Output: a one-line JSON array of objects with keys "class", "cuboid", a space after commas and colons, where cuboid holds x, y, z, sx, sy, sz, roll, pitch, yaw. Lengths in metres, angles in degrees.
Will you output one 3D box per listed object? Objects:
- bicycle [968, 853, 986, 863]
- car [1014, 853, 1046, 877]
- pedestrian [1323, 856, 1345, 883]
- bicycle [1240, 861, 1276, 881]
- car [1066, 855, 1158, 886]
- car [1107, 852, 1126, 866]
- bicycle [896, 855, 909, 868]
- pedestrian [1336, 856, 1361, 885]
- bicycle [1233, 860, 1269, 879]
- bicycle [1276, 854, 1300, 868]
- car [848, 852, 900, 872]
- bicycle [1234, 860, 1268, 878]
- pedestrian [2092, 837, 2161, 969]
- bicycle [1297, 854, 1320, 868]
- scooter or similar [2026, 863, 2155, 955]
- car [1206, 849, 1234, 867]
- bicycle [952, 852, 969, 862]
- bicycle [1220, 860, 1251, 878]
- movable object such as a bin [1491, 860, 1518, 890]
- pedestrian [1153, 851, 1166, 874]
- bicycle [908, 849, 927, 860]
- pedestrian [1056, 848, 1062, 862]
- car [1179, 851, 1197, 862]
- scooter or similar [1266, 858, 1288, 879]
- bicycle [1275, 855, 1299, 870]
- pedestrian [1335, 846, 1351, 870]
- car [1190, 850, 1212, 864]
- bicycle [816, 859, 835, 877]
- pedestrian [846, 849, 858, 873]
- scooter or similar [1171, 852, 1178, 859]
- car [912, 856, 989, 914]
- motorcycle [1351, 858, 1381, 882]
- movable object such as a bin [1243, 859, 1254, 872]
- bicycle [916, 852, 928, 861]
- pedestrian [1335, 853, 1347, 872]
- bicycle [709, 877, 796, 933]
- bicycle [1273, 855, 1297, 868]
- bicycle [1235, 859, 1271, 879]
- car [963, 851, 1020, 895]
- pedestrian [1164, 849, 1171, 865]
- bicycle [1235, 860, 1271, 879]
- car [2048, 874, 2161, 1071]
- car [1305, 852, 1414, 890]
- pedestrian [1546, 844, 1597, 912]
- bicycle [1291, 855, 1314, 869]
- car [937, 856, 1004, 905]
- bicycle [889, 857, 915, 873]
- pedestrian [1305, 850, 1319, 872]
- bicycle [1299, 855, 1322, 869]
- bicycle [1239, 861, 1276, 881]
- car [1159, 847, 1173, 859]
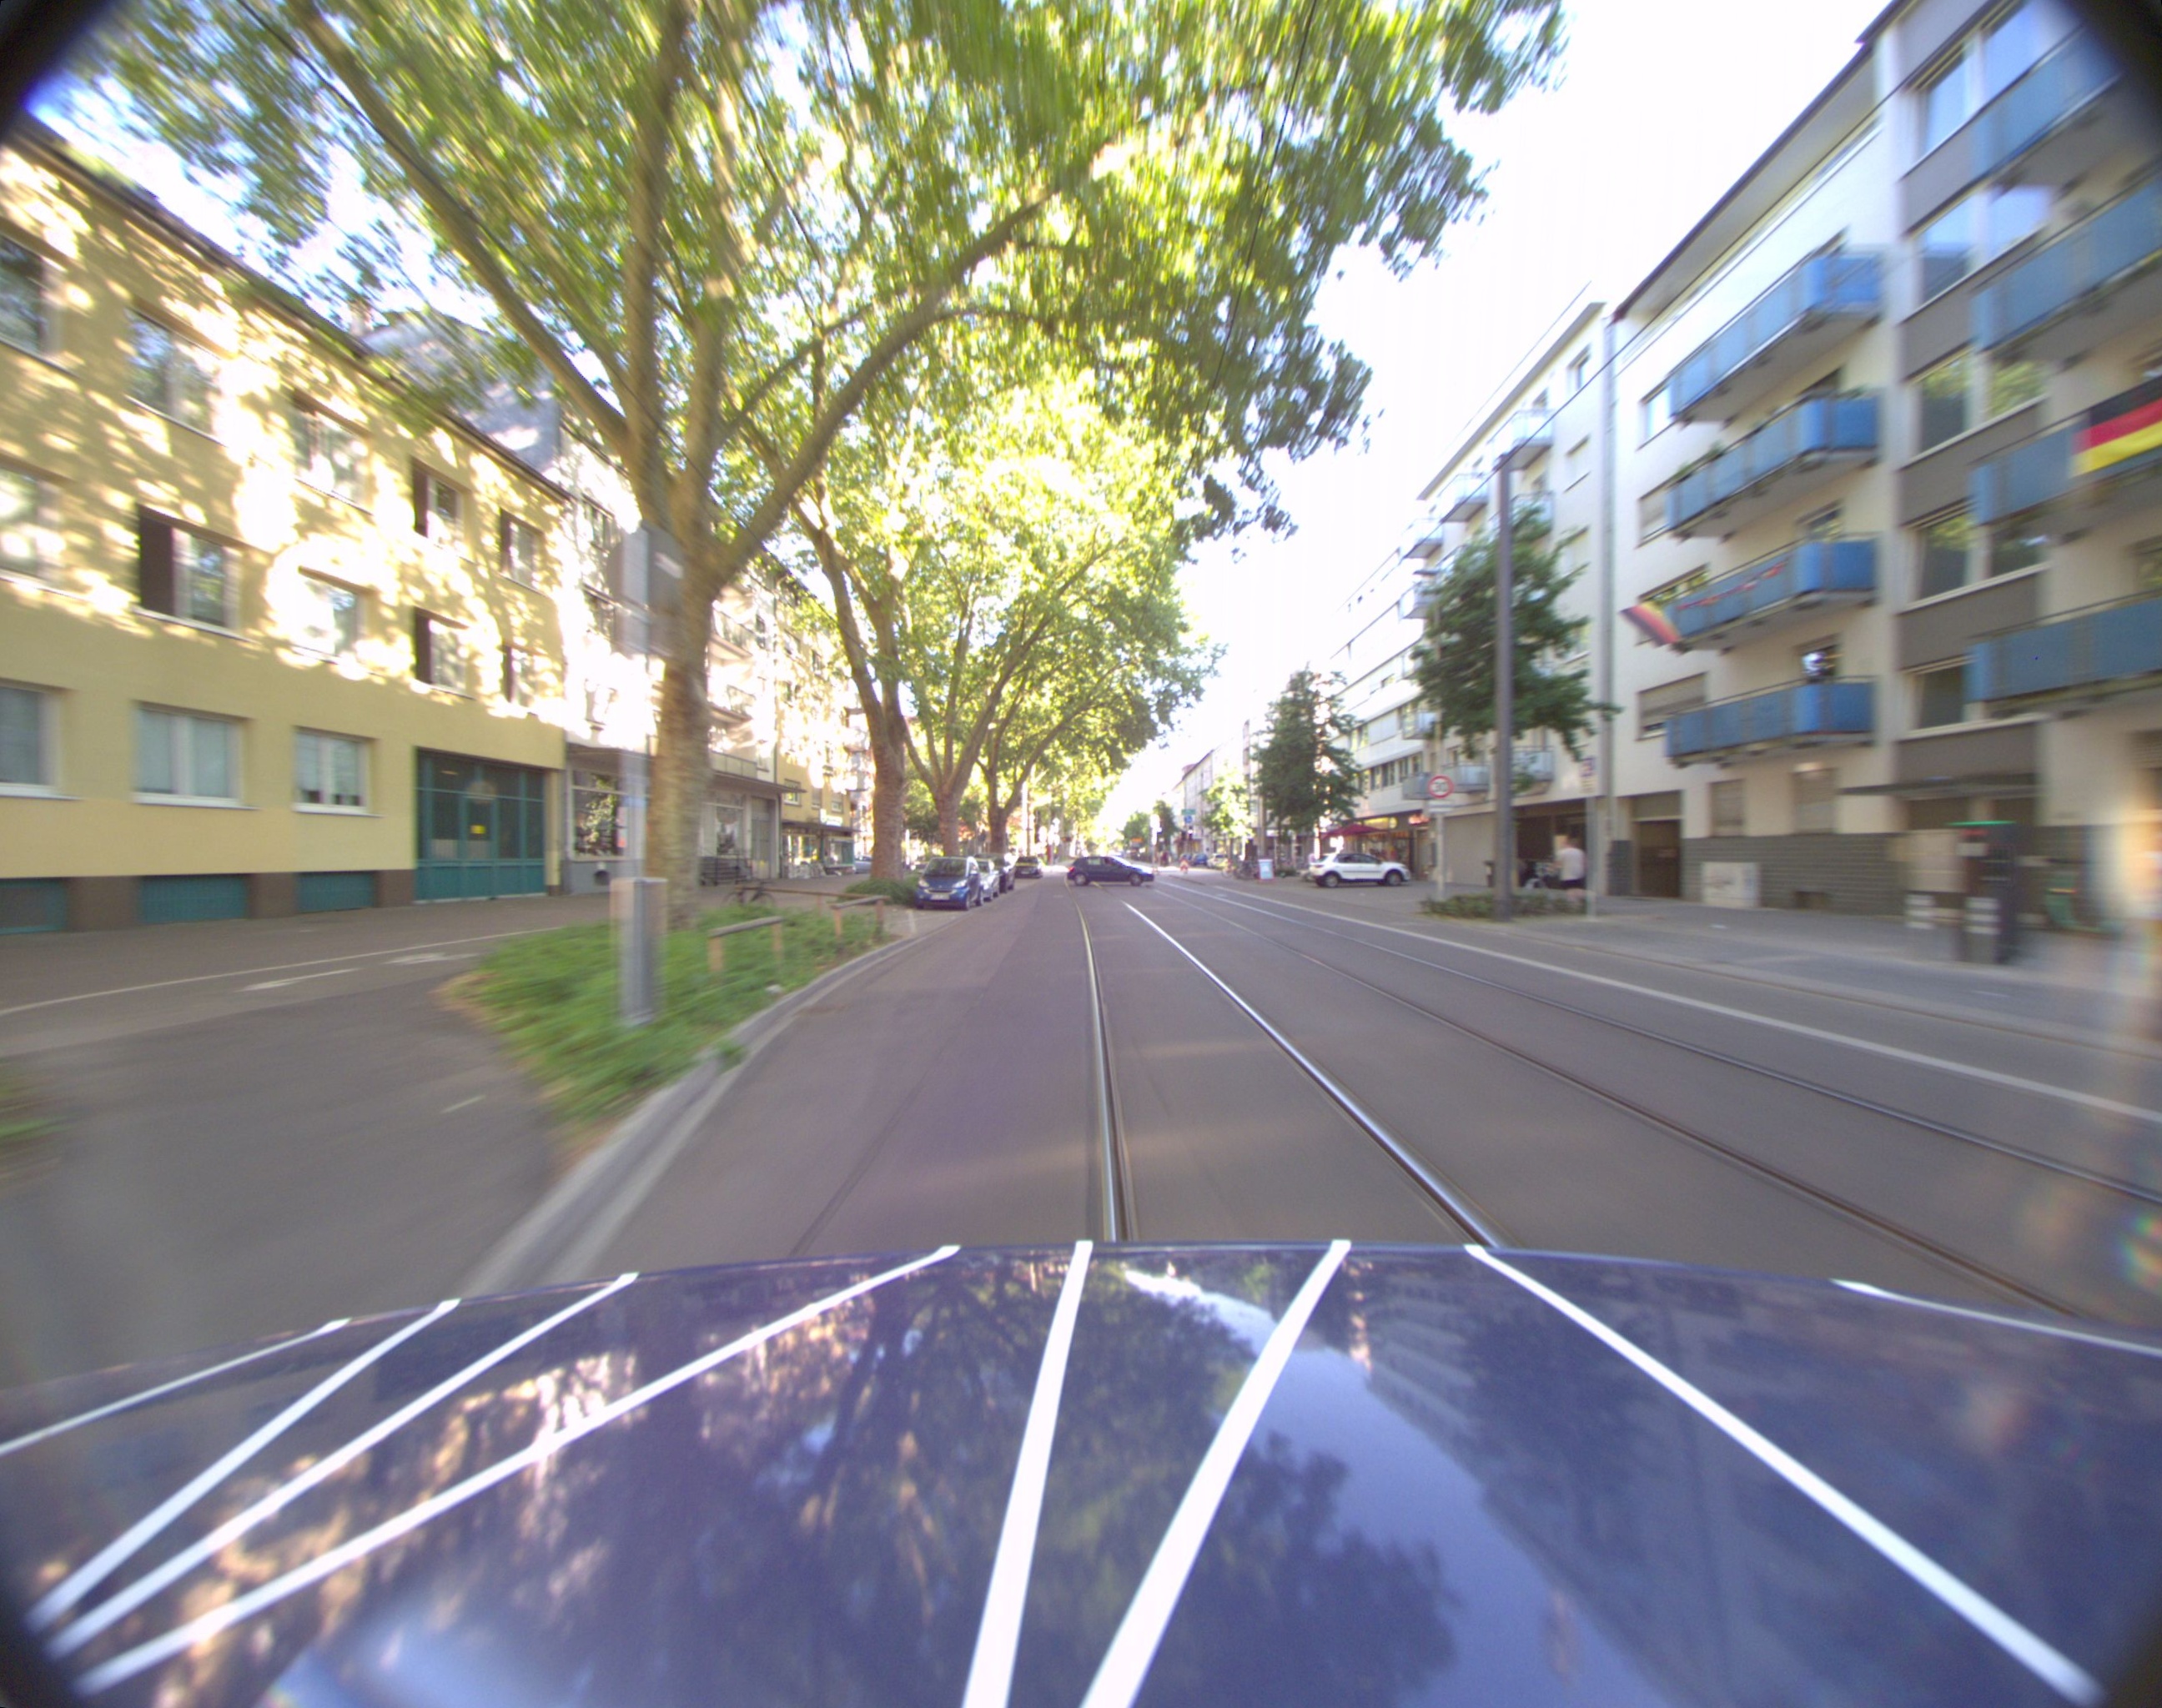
[{"class": "bicycle", "cuboid": [-12.599, 0.483, 92.286, 2.036, 1.150, 0.572, 2, 1, 2]}, {"class": "car", "cuboid": [-3.234, 0.652, 49.128, 1.769, 1.454, 5.011, 0, 0, 0]}, {"class": "pedestrian", "cuboid": [12.000, 0.733, 36.029, 0.714, 1.290, 0.747, 0, 1, -13]}, {"class": "bicycle", "cuboid": [9.342, 0.912, 40.119, 1.696, 1.001, 0.657, -1, 1, -3]}, {"class": "car", "cuboid": [1.533, 0.784, 36.842, 4.219, 1.429, 1.872, -1, 1, 12]}, {"class": "car", "cuboid": [4.012, 0.607, 86.146, 1.876, 1.580, 4.146, 0, -1, -1]}, {"class": "bicycle", "cuboid": [-16.111, 0.661, 68.677, 0.601, 1.150, 1.698, 2, 1, 4]}, {"class": "pedestrian", "cuboid": [12.242, 0.744, 34.783, 0.714, 1.290, 0.911, 0, 1, -13]}, {"class": "bicycle", "cuboid": [9.664, 0.865, 43.243, 1.834, 1.001, 0.657, -1, 1, -3]}, {"class": "bicycle", "cuboid": [17.488, 0.598, 64.275, 1.862, 1.150, 0.572, 0, 1, 6]}, {"class": "car", "cuboid": [-17.340, 0.657, 63.850, 3.871, 1.683, 1.866, 0, 1, 1]}, {"class": "bicycle", "cuboid": [9.766, 0.857, 43.682, 1.834, 1.001, 0.657, -1, 1, -3]}, {"class": "pedestrian", "cuboid": [14.023, 0.616, 9.908, 0.665, 1.681, 0.748, 0, 1, 0]}, {"class": "bicycle", "cuboid": [19.274, 0.611, 64.445, 1.789, 1.150, 0.572, 0, 1, -5]}, {"class": "scooter or similar", "cuboid": [15.111, 0.792, 11.417, 0.376, 1.282, 1.237, 2, 1, 9]}, {"class": "car", "cuboid": [13.334, 0.375, 73.217, 1.882, 1.641, 4.358, -2, 0, 0]}, {"class": "bicycle", "cuboid": [-14.777, 0.396, 93.148, 2.035, 1.150, 0.572, 2, 1, 7]}, {"class": "bicycle", "cuboid": [9.180, 0.889, 45.175, 1.696, 1.001, 0.657, -1, 1, -3]}, {"class": "movable object such as a bin", "cuboid": [15.334, 0.752, 27.536, 0.674, 1.049, 0.574, 0, 1, 3]}, {"class": "pedestrian", "cuboid": [5.702, 0.609, 55.189, 0.759, 1.661, 0.768, 0, 1, -4]}, {"class": "bicycle", "cuboid": [-17.122, 0.028, 79.580, 1.930, 1.150, 0.573, 2, 1, 17]}, {"class": "pedestrian", "cuboid": [-2.649, 0.146, 90.892, 0.768, 1.650, 0.917, 0, 1, -2]}, {"class": "car", "cuboid": [13.523, 0.302, 96.554, 1.799, 1.455, 4.282, 1, 0, 2]}, {"class": "scooter or similar", "cuboid": [11.163, 0.820, 43.221, 1.082, 1.169, 0.498, -1, 1, 0]}, {"class": "bicycle", "cuboid": [17.185, 0.700, 63.366, 1.784, 1.150, 0.573, 0, 1, 32]}, {"class": "pedestrian", "cuboid": [17.865, 0.289, 51.834, 0.768, 1.650, 0.749, 0, 1, -3]}, {"class": "car", "cuboid": [13.450, 0.329, 85.323, 1.961, 1.535, 4.389, 1, 0, 2]}, {"class": "bicycle", "cuboid": [-14.587, 0.788, 43.434, 0.572, 0.991, 1.780, 2, 1, -3]}, {"class": "pedestrian", "cuboid": [-15.932, 0.488, 52.819, 0.704, 1.673, 0.660, 0, 1, -26]}, {"class": "scooter or similar", "cuboid": [15.028, 0.219, 121.871, 0.447, 1.167, 1.271, 0, 1, -35]}, {"class": "car", "cuboid": [-3.758, 0.858, 22.304, 1.567, 1.510, 2.910, 1, 1, 3]}, {"class": "motorcycle", "cuboid": [14.266, 0.798, 38.139, 0.851, 1.157, 1.915, 0, 0, 3]}, {"class": "movable object such as a bin", "cuboid": [12.350, 0.850, 56.019, 0.541, 0.927, 0.649, 0, 1, -15]}, {"class": "bicycle", "cuboid": [-19.901, 0.315, 95.307, 0.707, 1.150, 2.039, 2, 1, 11]}, {"class": "pedestrian", "cuboid": [16.145, 0.514, 47.175, 0.513, 1.191, 0.563, 0, 1, -15]}, {"class": "bicycle", "cuboid": [-6.889, 1.054, 15.923, 1.964, 1.000, 0.512, 3, 1, 27]}, {"class": "bicycle", "cuboid": [17.544, 0.637, 65.213, 2.040, 1.150, 0.571, 0, 1, -21]}, {"class": "bicycle", "cuboid": [9.546, 0.854, 42.279, 1.834, 1.058, 0.657, -1, 1, -3]}, {"class": "car", "cuboid": [-3.715, 0.743, 32.298, 1.862, 1.594, 4.781, 1, 1, 0]}, {"class": "pedestrian", "cuboid": [8.147, 0.271, 71.562, 0.655, 1.576, 0.772, 0, 1, 2]}, {"class": "bicycle", "cuboid": [9.616, 0.874, 42.598, 1.834, 1.001, 0.657, -1, 1, -3]}, {"class": "car", "cuboid": [9.374, 0.926, 4.620, 1.718, 1.455, 3.997, -4, 1, -6]}, {"class": "car", "cuboid": [11.909, 0.713, 32.692, 4.021, 1.467, 1.852, -1, 1, 4]}, {"class": "pedestrian", "cuboid": [12.285, 0.583, 19.039, 0.765, 1.681, 0.794, 0, 1, 0]}, {"class": "bicycle", "cuboid": [18.384, 0.644, 63.121, 1.784, 1.150, 0.573, 0, 1, 32]}, {"class": "car", "cuboid": [-3.783, 0.861, 26.774, 1.821, 1.427, 4.601, 1, 1, -2]}, {"class": "bicycle", "cuboid": [-13.173, 0.826, 55.989, 1.799, 1.150, 0.744, 1, 1, -20]}, {"class": "pedestrian", "cuboid": [16.217, 0.468, 53.367, 0.727, 1.547, 0.768, 0, 1, -4]}, {"class": "bicycle", "cuboid": [19.175, 0.632, 63.607, 1.786, 1.150, 0.572, 0, 1, 12]}, {"class": "bicycle", "cuboid": [9.601, 0.916, 41.371, 1.834, 1.001, 0.657, -1, 1, -3]}, {"class": "car", "cuboid": [14.559, -0.196, 130.185, 1.808, 1.923, 4.049, 0, 0, 0]}]
